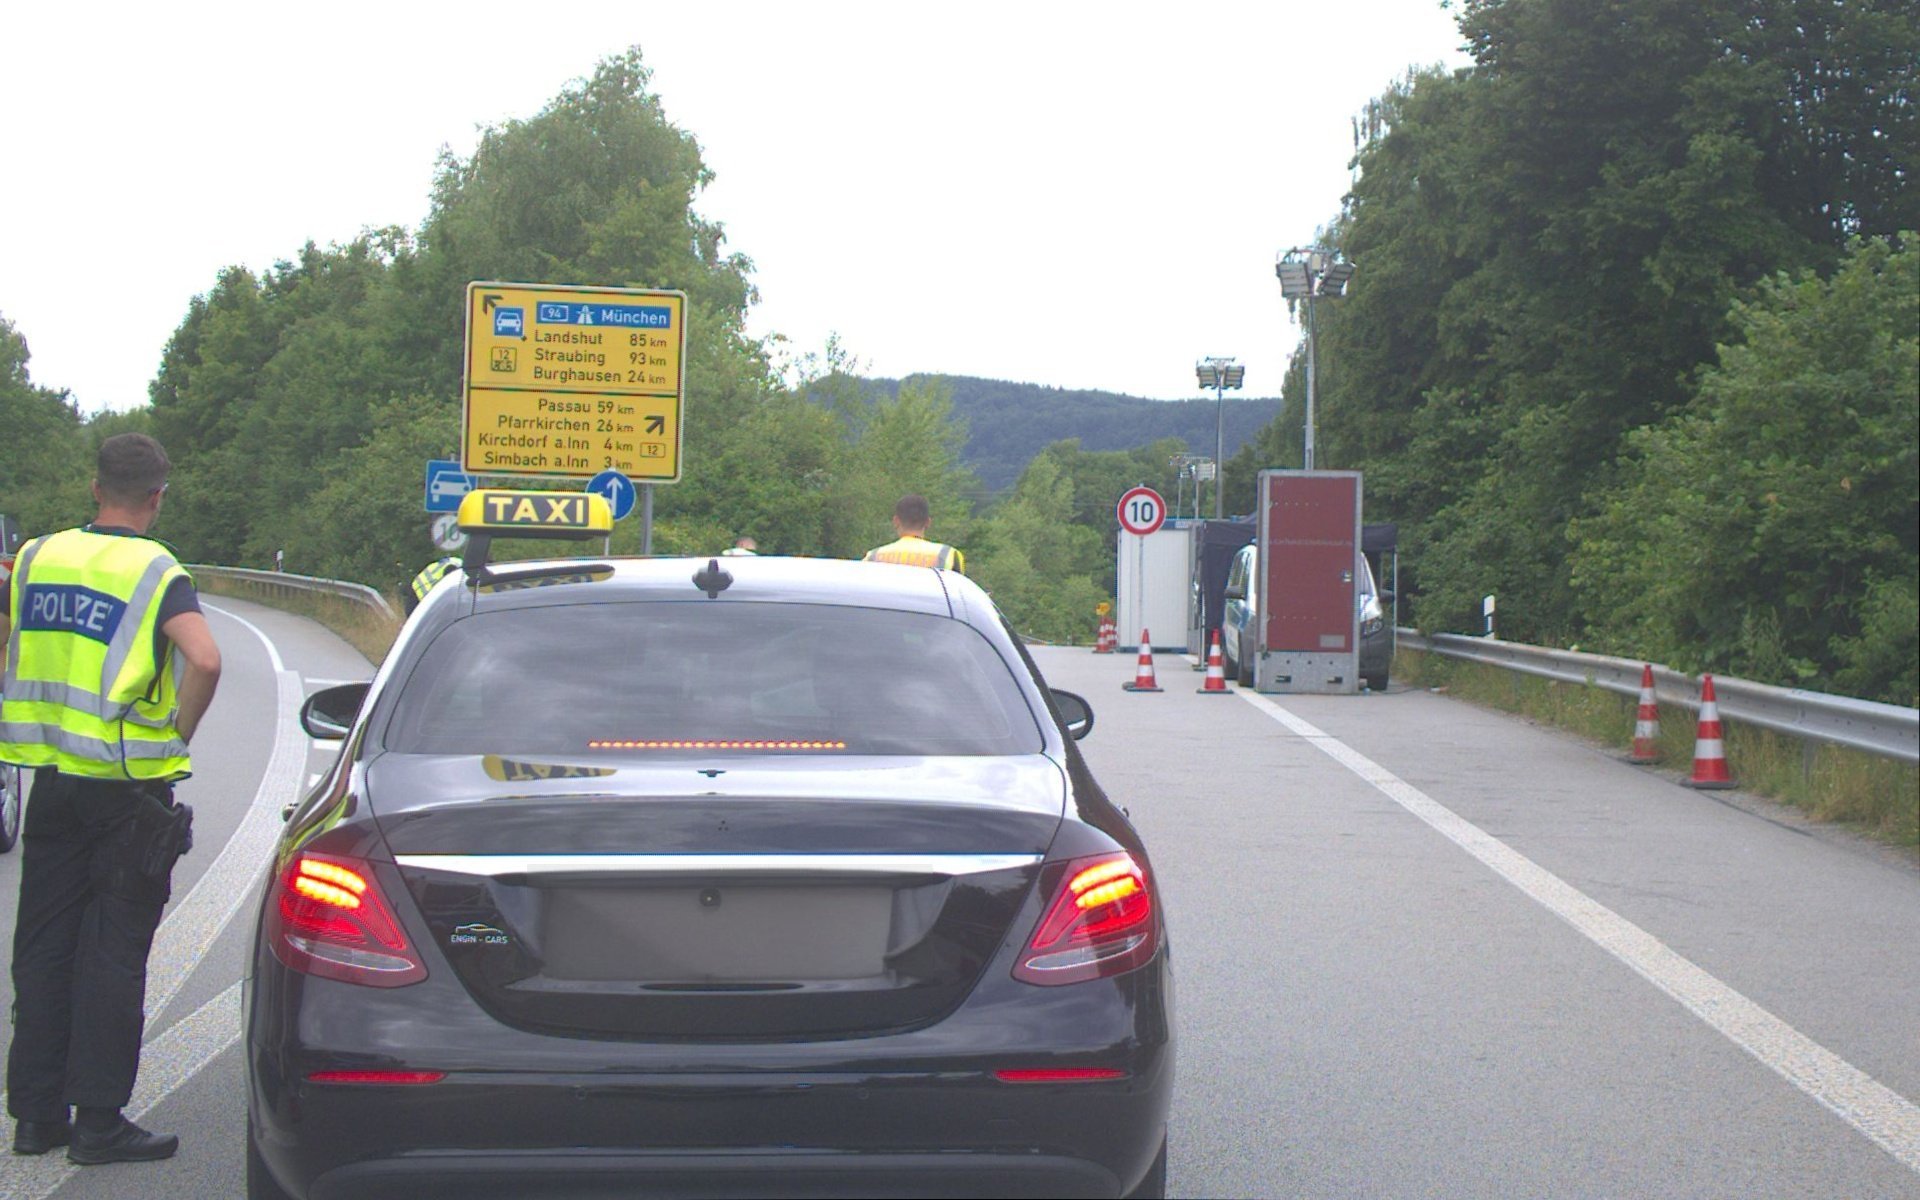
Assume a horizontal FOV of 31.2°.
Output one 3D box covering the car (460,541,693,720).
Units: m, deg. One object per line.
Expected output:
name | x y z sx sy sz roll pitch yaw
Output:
car | -3.375 0.221 30.911 1.855 1.493 4.257 0 1 -3

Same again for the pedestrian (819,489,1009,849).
pedestrian | -0.230 0.341 17.903 0.813 1.824 0.809 0 1 14

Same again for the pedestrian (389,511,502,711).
pedestrian | -4.606 0.092 30.817 0.910 1.763 0.912 1 1 -3

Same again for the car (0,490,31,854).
car | -5.414 0.358 15.092 1.868 1.737 4.009 0 1 -4

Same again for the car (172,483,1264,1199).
car | -0.604 0.566 8.059 1.855 1.589 4.376 0 1 -5

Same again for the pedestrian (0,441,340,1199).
pedestrian | -2.034 0.498 8.138 0.761 1.712 0.816 1 1 37

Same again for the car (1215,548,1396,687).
car | 4.549 0.181 45.931 1.916 1.672 5.083 2 1 1

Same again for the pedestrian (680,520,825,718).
pedestrian | -1.808 0.157 29.872 0.908 1.692 0.914 0 0 -32

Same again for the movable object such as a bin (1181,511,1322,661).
movable object such as a bin | 4.603 -0.251 54.769 1.993 2.272 4.168 1 1 2
